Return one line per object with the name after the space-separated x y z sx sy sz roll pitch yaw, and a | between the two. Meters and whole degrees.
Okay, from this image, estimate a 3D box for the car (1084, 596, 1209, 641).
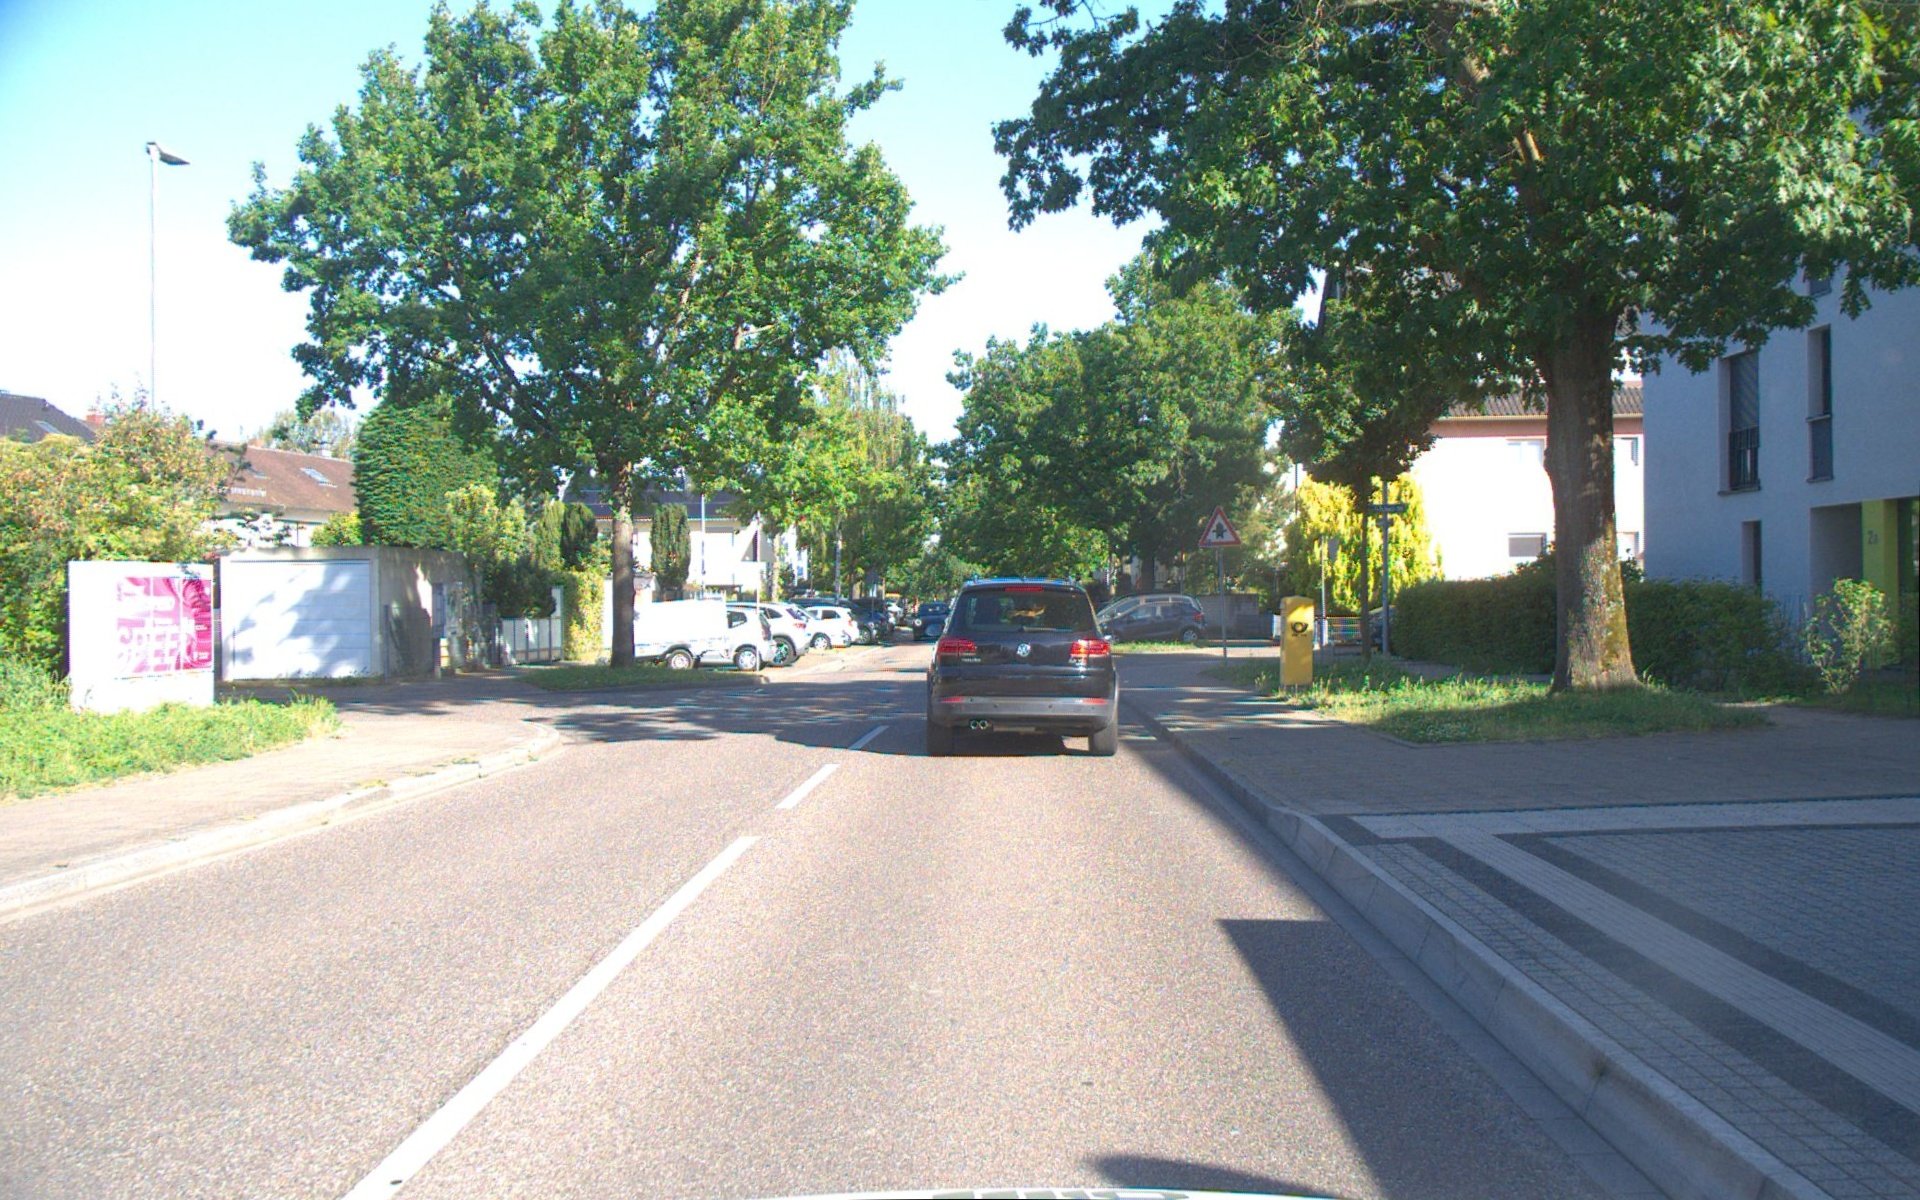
6.092 0.591 54.422 3.905 1.392 1.847 -1 0 0 | car

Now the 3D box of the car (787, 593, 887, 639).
-4.926 0.634 66.599 3.907 1.762 1.999 -1 0 -3 | car

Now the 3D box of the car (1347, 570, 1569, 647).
12.971 0.252 43.291 5.135 1.880 2.071 -1 -2 -2 | car

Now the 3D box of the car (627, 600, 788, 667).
-5.921 0.774 39.022 3.476 1.503 1.808 -1 0 0 | car

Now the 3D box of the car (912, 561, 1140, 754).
0.527 0.507 16.921 1.891 1.683 4.511 1 0 -3 | car

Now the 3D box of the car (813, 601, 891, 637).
-4.621 0.810 71.188 3.304 1.516 1.643 -1 0 -3 | car

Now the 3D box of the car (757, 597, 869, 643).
-5.466 0.742 61.843 3.904 1.668 2.001 -1 0 2 | car

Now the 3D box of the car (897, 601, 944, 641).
-1.645 0.888 70.703 1.870 1.582 4.000 -2 0 0 | car

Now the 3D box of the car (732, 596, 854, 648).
-5.679 0.748 56.504 3.904 1.699 2.000 -1 0 2 | car

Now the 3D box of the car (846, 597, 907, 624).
-5.510 0.690 109.161 3.911 1.714 1.920 -1 0 -7 | car

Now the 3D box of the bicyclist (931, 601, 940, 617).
-2.077 0.770 138.855 0.686 1.370 0.506 -1 -2 -4 | bicyclist

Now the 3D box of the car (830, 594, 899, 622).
-5.600 0.484 97.528 3.904 1.525 2.000 -1 -2 1 | car

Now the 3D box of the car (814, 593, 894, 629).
-5.355 0.571 83.700 3.905 1.750 1.820 0 -2 0 | car

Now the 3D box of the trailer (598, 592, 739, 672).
-6.429 0.692 36.666 2.908 1.685 1.395 -1 0 -3 | trailer

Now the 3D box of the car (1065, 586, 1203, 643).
5.955 0.488 56.922 4.538 1.841 1.824 -1 0 0 | car

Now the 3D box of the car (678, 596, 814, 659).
-5.718 0.727 44.495 3.479 1.585 1.851 -1 -1 -4 | car

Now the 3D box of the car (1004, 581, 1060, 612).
5.072 -0.271 116.804 3.904 2.049 2.000 -1 -2 1 | car

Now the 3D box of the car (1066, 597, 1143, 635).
5.988 0.655 68.775 2.985 1.534 1.245 -1 0 -6 | car

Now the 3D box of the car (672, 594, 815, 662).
-5.402 0.686 41.696 3.480 1.641 1.850 -1 0 -5 | car

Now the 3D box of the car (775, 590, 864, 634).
-6.257 0.535 74.071 3.908 1.868 1.636 -1 0 -4 | car

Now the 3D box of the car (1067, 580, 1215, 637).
6.521 0.295 59.958 5.151 1.979 2.000 0 0 0 | car

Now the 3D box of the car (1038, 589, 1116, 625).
5.992 0.348 85.141 3.904 1.806 1.790 -1 0 1 | car
